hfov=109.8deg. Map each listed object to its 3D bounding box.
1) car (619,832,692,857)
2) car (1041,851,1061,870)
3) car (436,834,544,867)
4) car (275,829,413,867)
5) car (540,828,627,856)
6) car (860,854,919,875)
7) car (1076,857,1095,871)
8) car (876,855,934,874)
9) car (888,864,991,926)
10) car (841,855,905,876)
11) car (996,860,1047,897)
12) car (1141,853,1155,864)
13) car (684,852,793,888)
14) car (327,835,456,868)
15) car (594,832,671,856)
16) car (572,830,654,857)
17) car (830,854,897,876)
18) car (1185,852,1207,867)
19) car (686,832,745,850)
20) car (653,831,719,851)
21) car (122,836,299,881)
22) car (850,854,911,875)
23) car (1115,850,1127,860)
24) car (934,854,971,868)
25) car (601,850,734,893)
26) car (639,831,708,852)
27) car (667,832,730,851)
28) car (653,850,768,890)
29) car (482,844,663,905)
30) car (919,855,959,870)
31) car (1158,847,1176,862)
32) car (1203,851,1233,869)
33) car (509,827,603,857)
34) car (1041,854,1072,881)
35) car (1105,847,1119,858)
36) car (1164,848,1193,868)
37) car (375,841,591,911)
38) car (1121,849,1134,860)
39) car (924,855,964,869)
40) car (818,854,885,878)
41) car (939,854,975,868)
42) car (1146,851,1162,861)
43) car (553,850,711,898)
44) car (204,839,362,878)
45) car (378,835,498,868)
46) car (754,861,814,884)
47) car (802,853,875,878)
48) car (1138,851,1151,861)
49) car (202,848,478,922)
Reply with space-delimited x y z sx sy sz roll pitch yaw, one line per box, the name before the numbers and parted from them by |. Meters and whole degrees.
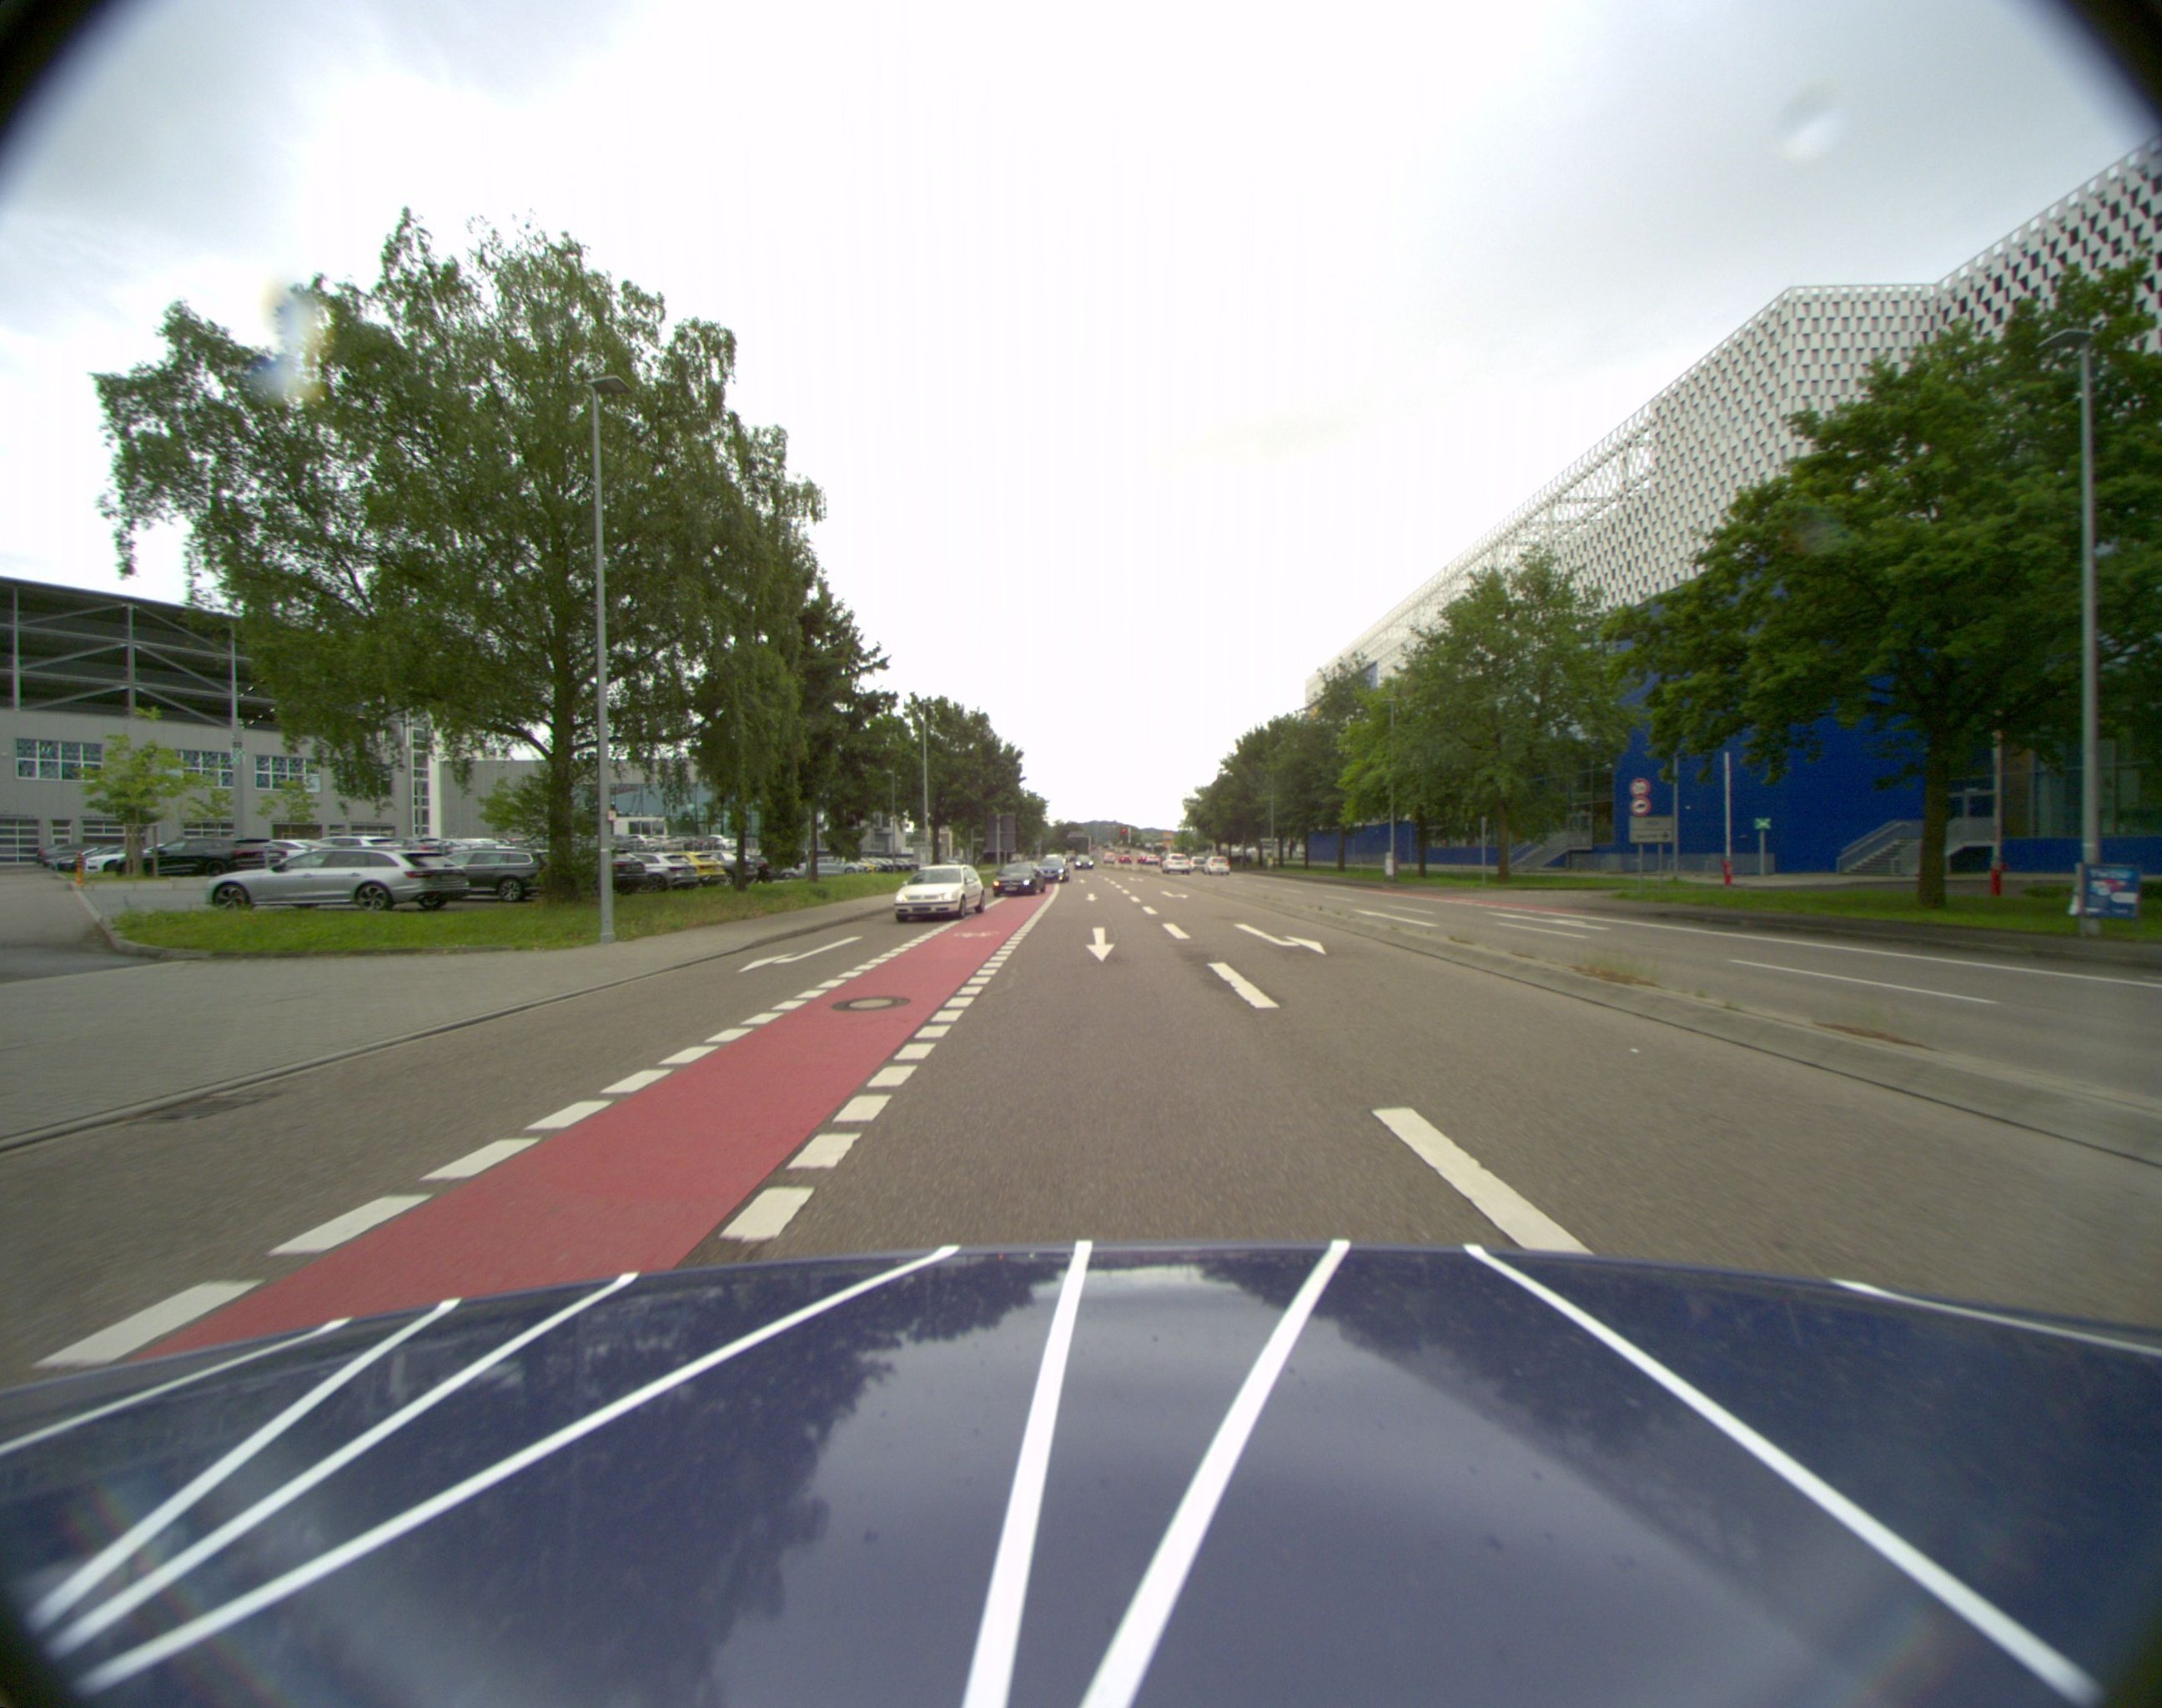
car | -31.748 -0.678 56.721 4.307 1.582 1.896 -3 0 2
car | -2.972 0.647 75.561 1.995 1.838 4.103 0 0 -2
car | -32.043 -0.170 41.301 4.309 1.526 1.832 -3 0 -1
car | -32.384 -0.255 33.463 4.309 1.374 1.700 -3 0 -1
car | -32.065 -0.734 49.022 4.309 1.516 1.832 -3 0 -1
car | -15.931 0.862 63.325 4.308 1.436 1.844 -3 0 1
car | 0.468 1.017 78.277 1.836 1.416 4.000 -2 0 1
car | -15.804 0.920 68.380 4.763 1.416 1.902 -3 0 1
car | -3.736 1.050 20.769 1.725 1.416 3.942 -2 0 5
car | -15.943 0.863 58.280 4.308 1.370 1.838 -3 0 1
car | -2.572 1.040 33.541 1.836 1.416 4.000 -2 0 1
car | 11.299 0.678 128.705 1.651 1.788 3.979 2 0 -5
car | -15.470 0.715 34.421 4.002 1.345 1.902 -3 0 2
car | -32.533 -0.109 35.934 4.309 1.240 1.832 -3 0 -1
car | -31.846 -0.689 54.047 4.309 1.424 1.864 -3 0 -1
car | -31.726 -0.692 51.602 4.309 1.503 1.832 -3 0 -1
car | -15.832 0.819 55.535 4.308 1.350 1.739 -3 0 1
car | 10.998 0.504 72.912 1.628 1.414 3.611 1 0 0
car | -32.372 -1.123 67.387 4.309 1.355 1.832 -3 0 -1
car | -32.264 -1.020 62.102 4.309 1.355 1.832 -3 0 -1
car | -32.112 0.169 28.133 4.309 1.365 1.832 -3 0 -1
car | -15.999 0.843 60.678 4.308 1.436 1.844 -3 0 1
car | 7.481 0.216 141.197 1.651 1.788 3.979 2 0 -5
car | -15.350 0.862 90.694 4.040 1.384 1.727 -3 0 1
car | -15.623 0.642 28.870 4.004 1.371 1.811 -3 0 3
car | -31.780 -1.000 59.359 4.309 1.355 1.832 -3 0 -1
car | -32.472 -1.061 64.610 4.309 1.355 1.832 -3 0 -1
car | -15.396 0.651 31.758 3.761 1.415 1.953 -3 0 0
car | -15.901 0.611 23.930 4.308 1.592 1.969 -3 0 2
car | -15.461 0.870 82.841 4.040 1.384 1.727 -3 0 1
car | 11.290 0.117 99.526 1.771 1.913 4.908 1 0 0
car | 11.181 0.486 62.110 1.681 1.420 3.650 1 0 -2
car | -31.947 -0.727 46.301 4.309 1.518 1.859 -3 0 -1
car | -1.622 0.830 48.534 1.788 1.637 3.998 0 0 -5
car | 5.023 -0.223 122.462 1.651 1.788 3.979 1 0 -6
car | 7.905 0.320 62.076 1.822 1.577 4.513 1 0 0
car | -16.509 0.587 21.165 4.309 1.592 1.969 -3 0 -1
car | 8.025 0.128 131.672 1.651 1.788 3.979 -2 1 -5
car | -15.376 0.869 85.372 4.040 1.384 1.727 -3 0 1
car | -16.063 0.832 53.265 4.056 1.369 1.795 -3 0 1
car | -15.271 0.848 93.371 4.040 1.384 1.727 -3 0 1
car | 11.743 0.314 122.616 1.728 1.602 3.979 2 0 -5
car | -15.578 0.670 26.505 4.308 1.374 1.902 -3 0 2
car | -32.178 0.159 30.722 4.309 1.282 1.832 -3 0 -1
car | -32.039 -0.128 37.966 4.309 1.364 1.832 -3 0 -1
car | -25.734 1.569 65.919 4.308 1.591 1.972 -5 -1 1
car | -16.182 0.772 50.843 4.198 1.423 1.739 -3 0 1
car | 11.531 0.347 138.803 1.651 1.788 3.979 2 0 -5
car | -16.592 0.662 17.201 4.310 1.480 1.739 -1 0 -5
